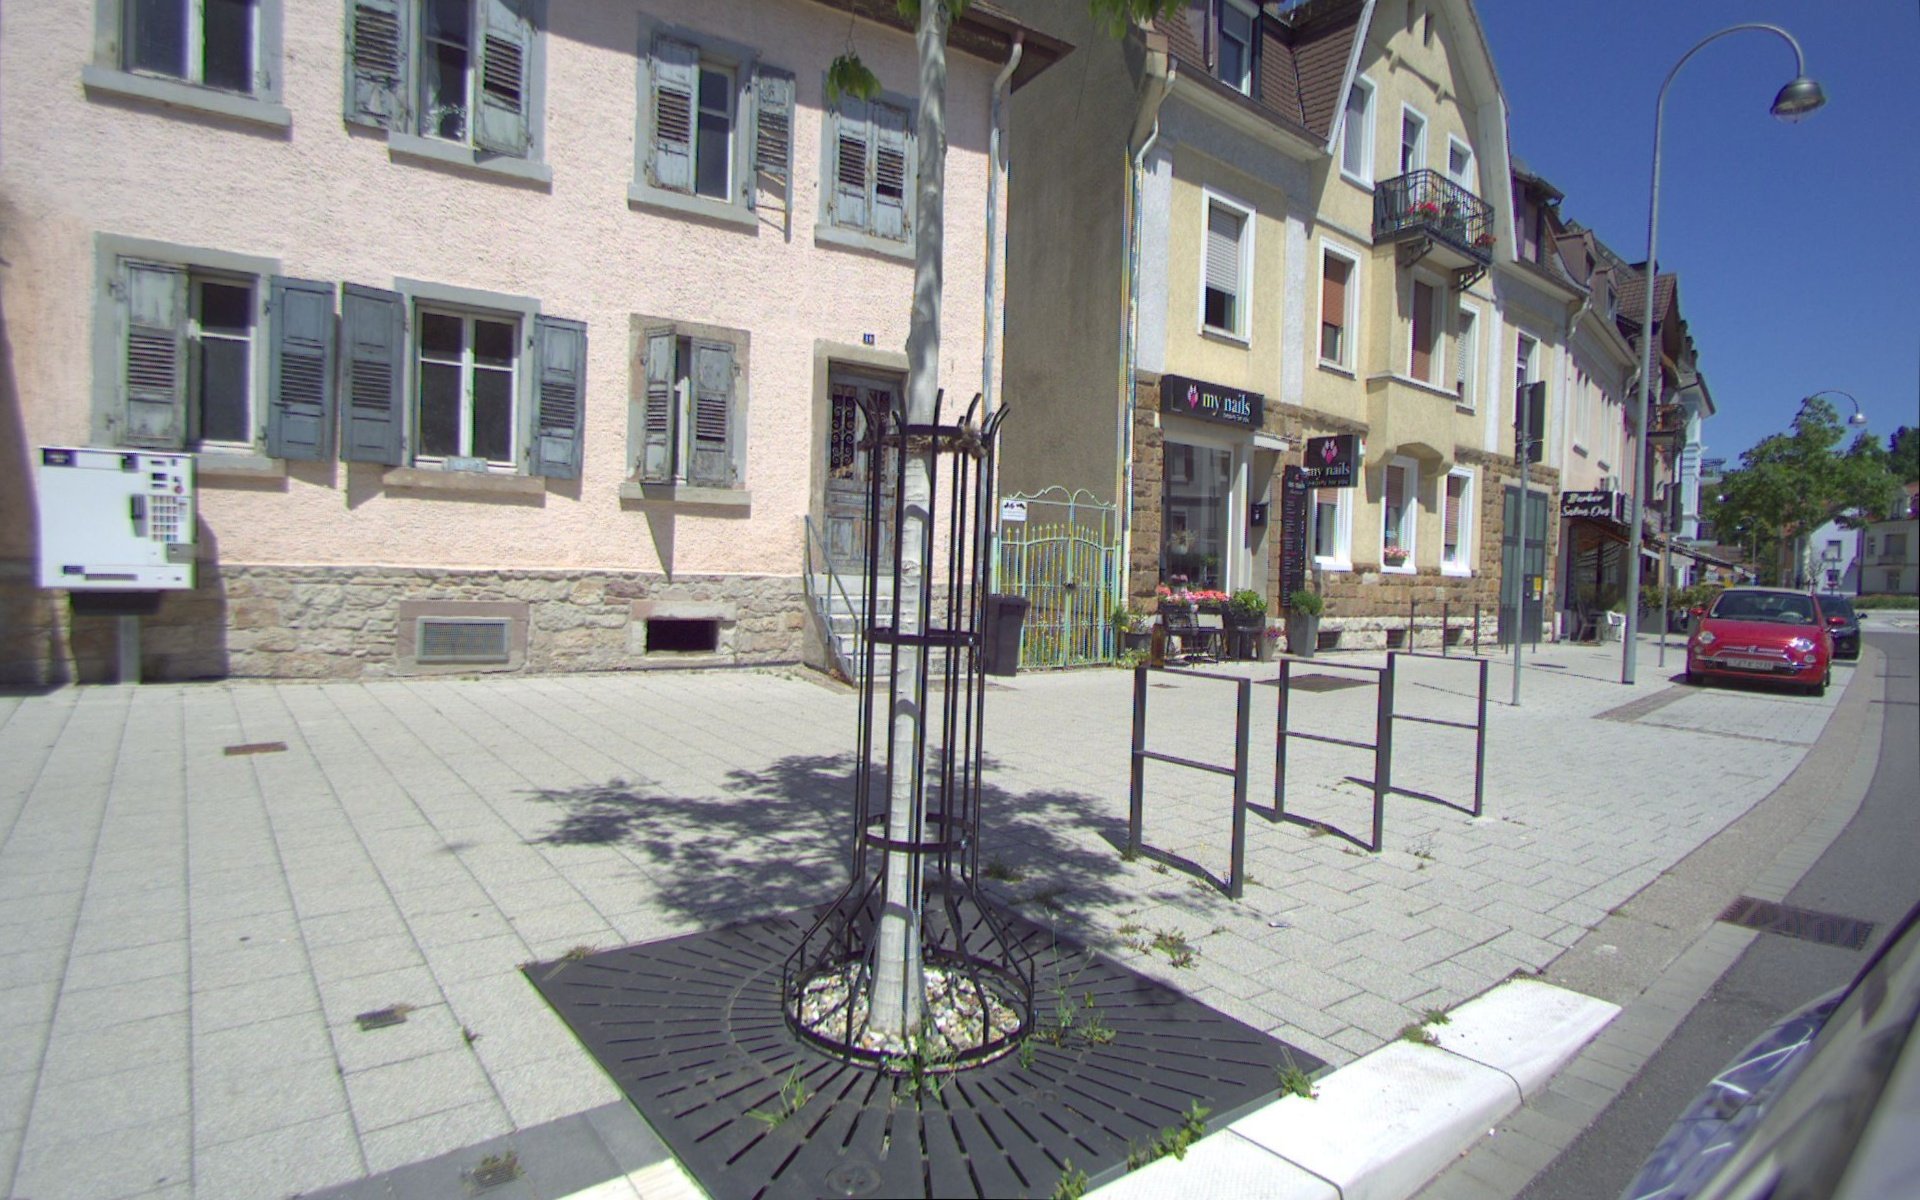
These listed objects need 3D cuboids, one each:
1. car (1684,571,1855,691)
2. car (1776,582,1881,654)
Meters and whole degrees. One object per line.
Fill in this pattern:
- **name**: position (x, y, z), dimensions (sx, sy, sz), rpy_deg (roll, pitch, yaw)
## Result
- **car**: position (12.320, 0.386, 15.339), dimensions (1.680, 1.532, 3.333), rpy_deg (5, 4, 44)
- **car**: position (21.143, 0.375, 24.673), dimensions (1.729, 1.490, 4.260), rpy_deg (6, 4, 41)
